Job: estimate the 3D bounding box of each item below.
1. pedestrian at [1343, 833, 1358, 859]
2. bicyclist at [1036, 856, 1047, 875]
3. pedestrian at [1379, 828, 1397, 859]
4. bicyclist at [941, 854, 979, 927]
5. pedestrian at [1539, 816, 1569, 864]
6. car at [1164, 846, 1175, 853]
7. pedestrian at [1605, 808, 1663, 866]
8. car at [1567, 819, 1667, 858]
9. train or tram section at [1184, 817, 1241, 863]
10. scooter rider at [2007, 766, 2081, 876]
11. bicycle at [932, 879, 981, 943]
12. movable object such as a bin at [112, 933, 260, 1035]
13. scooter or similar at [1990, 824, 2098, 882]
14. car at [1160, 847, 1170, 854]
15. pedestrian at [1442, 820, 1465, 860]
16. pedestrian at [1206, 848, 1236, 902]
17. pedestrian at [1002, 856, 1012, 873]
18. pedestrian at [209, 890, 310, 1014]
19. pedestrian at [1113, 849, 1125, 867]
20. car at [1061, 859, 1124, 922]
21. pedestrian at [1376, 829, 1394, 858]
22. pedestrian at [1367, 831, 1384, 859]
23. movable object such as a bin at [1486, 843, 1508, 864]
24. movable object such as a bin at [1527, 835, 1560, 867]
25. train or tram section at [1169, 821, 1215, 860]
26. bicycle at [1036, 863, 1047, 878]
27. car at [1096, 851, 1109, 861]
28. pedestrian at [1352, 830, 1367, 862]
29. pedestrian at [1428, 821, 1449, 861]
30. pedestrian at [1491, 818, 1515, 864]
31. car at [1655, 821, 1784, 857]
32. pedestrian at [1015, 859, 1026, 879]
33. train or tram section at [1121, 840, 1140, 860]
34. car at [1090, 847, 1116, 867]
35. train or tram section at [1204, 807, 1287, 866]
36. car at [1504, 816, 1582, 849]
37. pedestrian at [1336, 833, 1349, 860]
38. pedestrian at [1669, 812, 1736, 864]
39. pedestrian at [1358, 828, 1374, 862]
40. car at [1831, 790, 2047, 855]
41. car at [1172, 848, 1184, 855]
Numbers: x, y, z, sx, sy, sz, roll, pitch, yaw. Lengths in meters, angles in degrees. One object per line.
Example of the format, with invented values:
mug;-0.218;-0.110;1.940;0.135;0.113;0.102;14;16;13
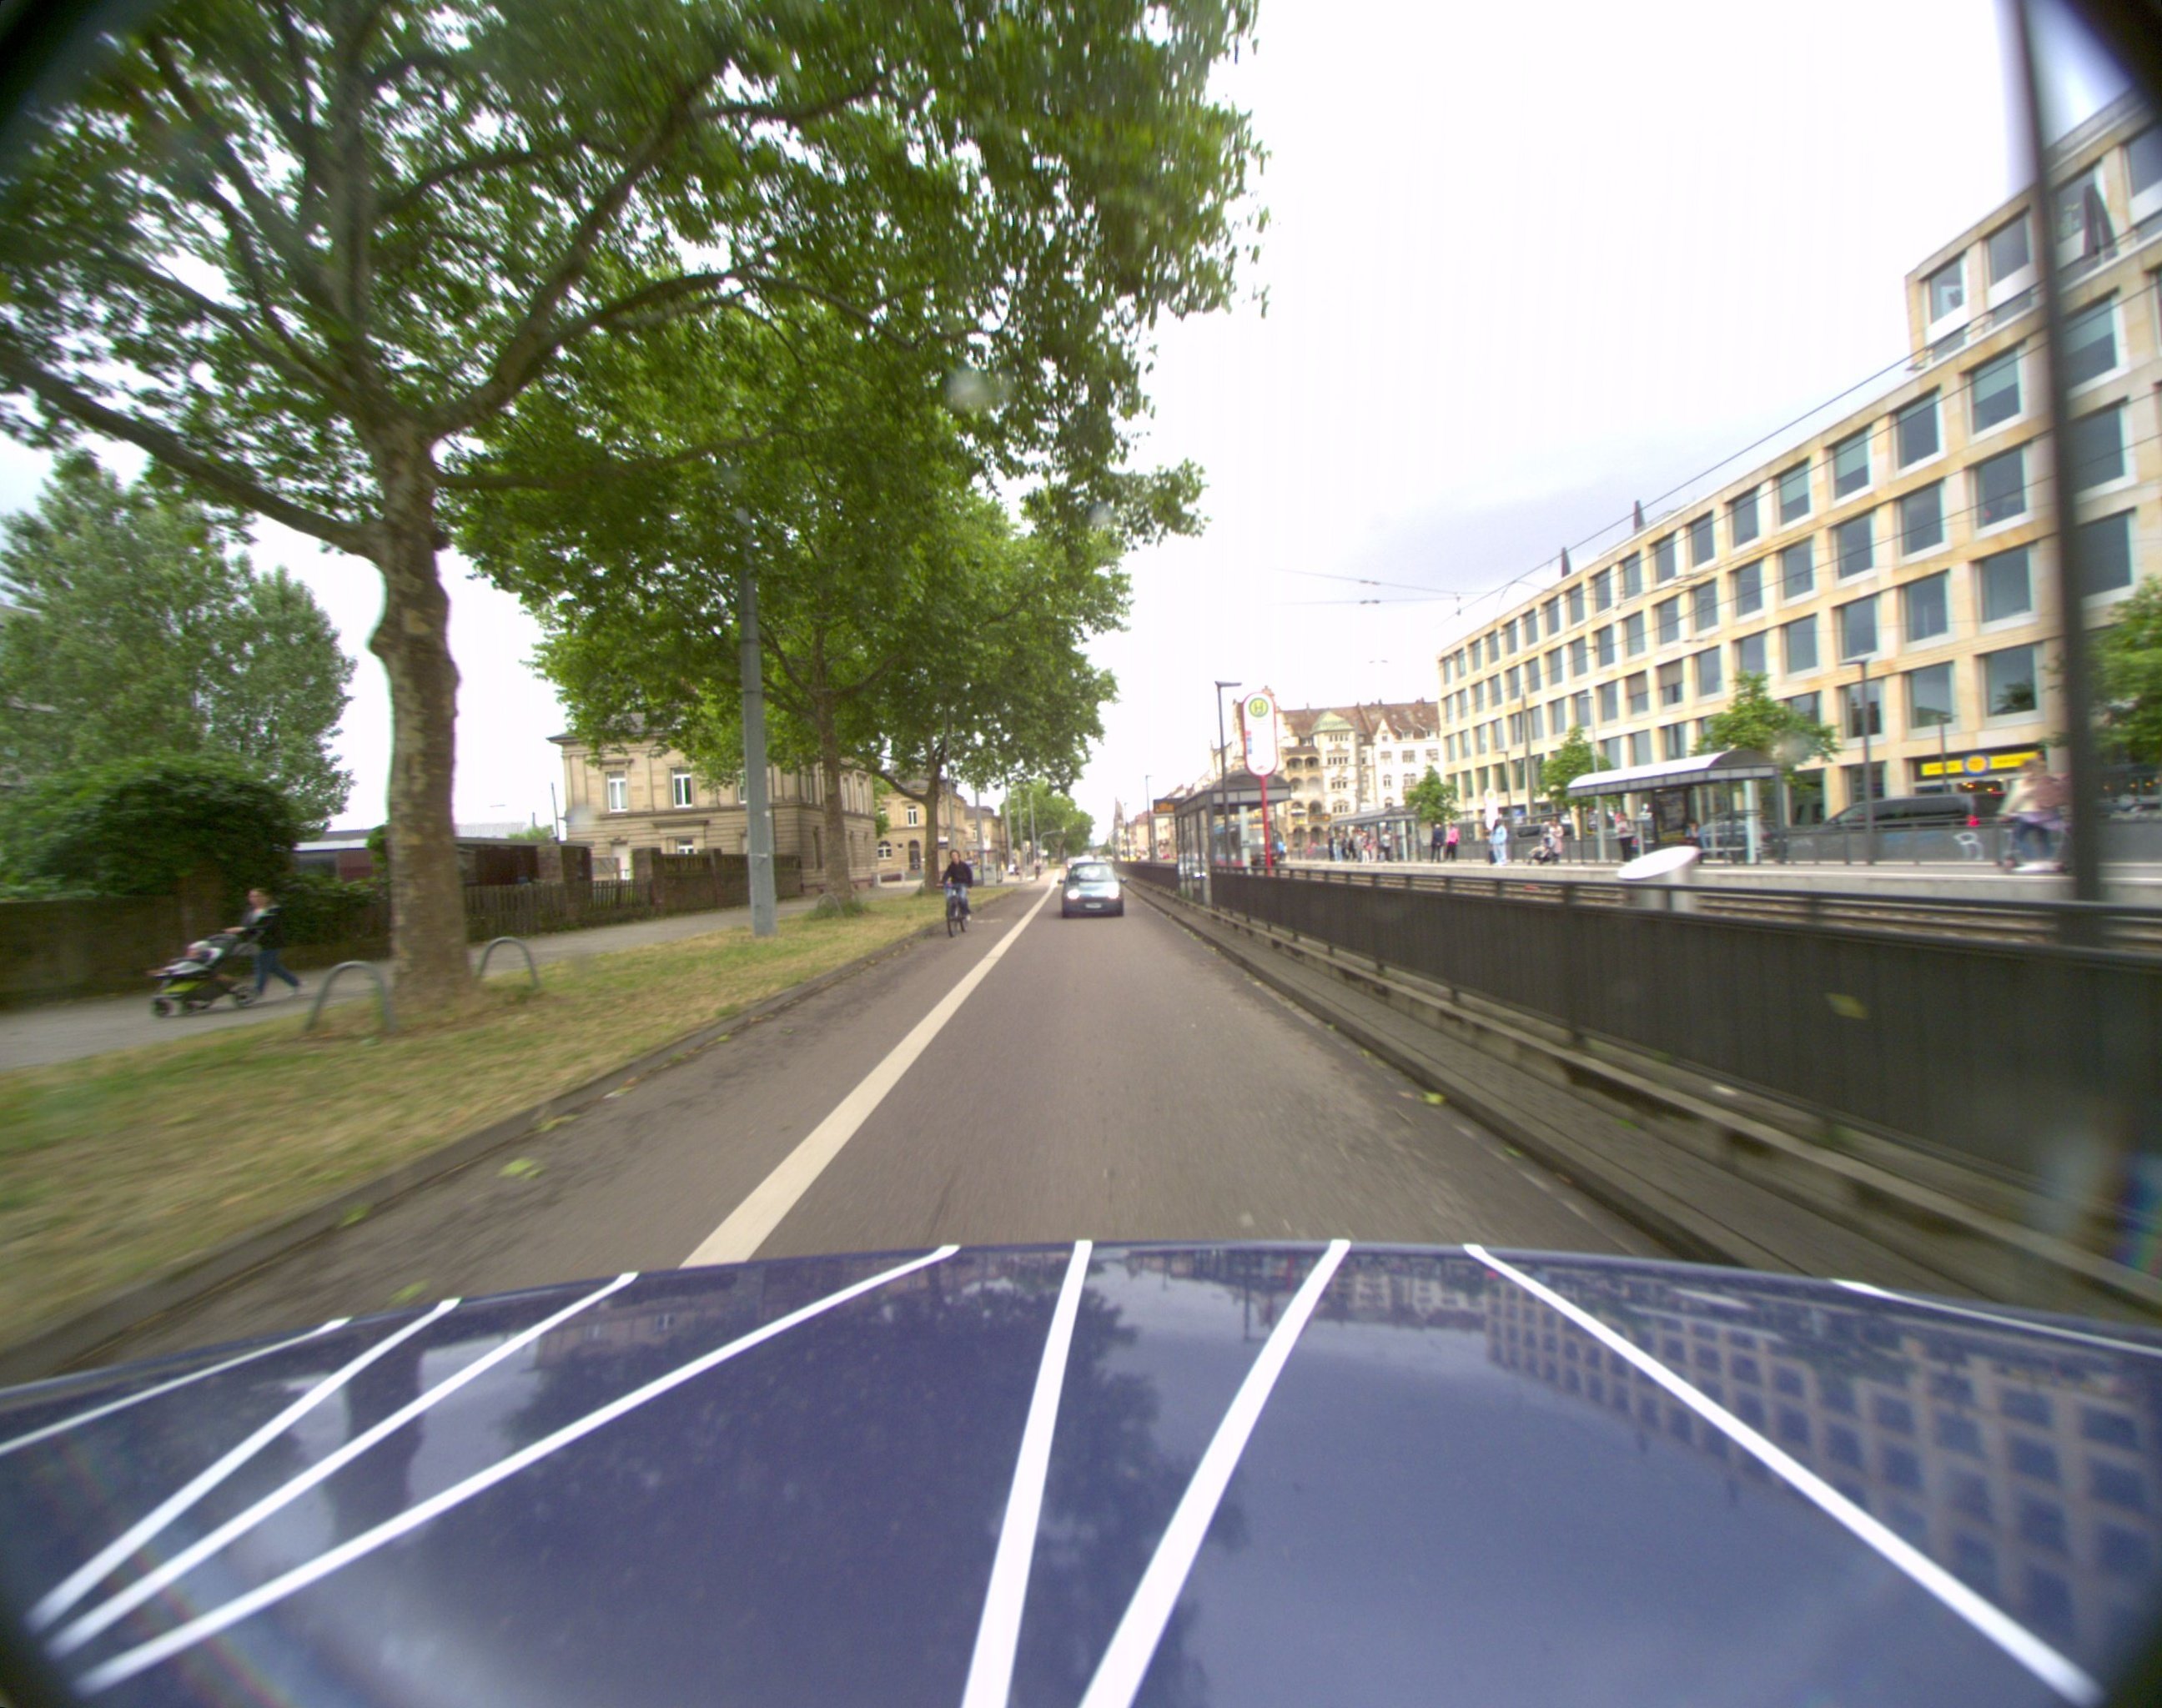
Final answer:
pedestrian;16.437;-0.480;46.361;0.589;1.579;0.596;-4;1;-18
bicyclist;-3.408;0.990;65.103;0.812;1.591;1.189;-3;1;-3
pedestrian;16.482;-0.557;40.746;0.589;1.579;0.596;-4;1;-18
bicyclist;-2.617;0.777;16.459;0.642;1.522;0.664;-3;1;-2
pedestrian;16.258;-0.479;26.116;0.580;1.598;0.655;-4;2;-33
car;22.644;-1.101;194.806;1.999;1.587;3.998;-3;1;-3
pedestrian;16.775;-0.503;23.063;1.040;1.676;0.939;-3;1;3
car;25.479;-0.735;36.298;1.998;1.652;4.000;-3;1;2
train or tram section;11.639;-1.245;68.676;2.862;3.619;11.697;-3;1;-1
scooter rider;14.990;-0.504;11.840;0.404;1.640;0.554;-3;1;-1
bicycle;-2.610;1.168;16.188;0.654;1.143;2.282;-3;1;-1
movable object such as a bin;-11.475;1.641;9.776;0.613;1.106;1.015;-3;0;6
scooter or similar;15.013;-0.025;11.874;0.388;0.844;1.004;-3;1;-1
car;22.303;-0.929;201.916;1.999;1.587;3.998;-3;1;-3
pedestrian;17.700;-0.660;36.134;0.700;1.844;0.721;-3;1;7
pedestrian;3.645;0.535;19.765;0.612;1.365;0.600;-3;1;1
pedestrian;-7.565;1.120;77.708;0.720;1.668;1.000;-3;1;10
pedestrian;-11.506;1.352;10.658;0.559;1.623;0.670;-3;1;6
pedestrian;3.582;0.343;71.321;0.862;1.633;0.651;-4;2;-41
car;0.337;0.934;20.741;1.534;1.464;3.353;-2;1;2
pedestrian;16.676;-0.580;41.639;0.589;1.579;0.596;-4;1;-18
pedestrian;16.882;-0.518;43.610;0.589;1.579;0.596;-4;1;-18
movable object such as a bin;15.166;-0.021;27.678;0.536;0.743;0.469;-3;1;7
movable object such as a bin;15.737;-0.100;25.850;0.622;1.015;0.721;-4;1;-33
train or tram section;11.529;-1.399;80.370;2.862;3.619;11.762;-3;1;-1
bicycle;-3.394;1.385;65.265;0.815;1.163;2.276;-3;1;-1
car;3.668;0.304;127.944;1.869;1.630;3.774;-3;1;-1
pedestrian;15.366;-0.452;41.968;0.596;1.759;0.588;-3;1;7
pedestrian;16.323;-0.593;34.682;0.589;1.759;0.596;-4;2;-37
pedestrian;15.082;-0.469;27.153;0.536;1.598;0.565;-3;1;7
car;25.359;-0.585;30.379;1.901;1.220;4.000;-3;1;2
pedestrian;-4.842;1.195;60.634;0.552;1.520;0.639;-3;1;18
train or tram section;9.189;-0.881;141.758;2.651;3.417;13.617;-3;1;0
car;1.799;0.225;62.889;1.998;1.443;4.099;-3;1;1
train or tram section;11.776;-1.200;56.058;2.862;3.671;13.517;-3;1;-1
car;25.758;-1.195;42.530;1.998;1.652;4.000;-3;1;2
pedestrian;15.596;-0.427;45.331;0.596;1.579;0.588;-3;1;7
pedestrian;17.170;-0.436;21.016;1.040;1.364;0.939;-3;1;3
pedestrian;15.239;-0.491;40.689;0.596;1.759;0.588;-3;1;7
car;25.483;-0.898;22.817;1.998;1.652;4.000;-3;1;2
car;21.775;-0.551;170.582;1.999;1.587;3.998;-3;1;-3
